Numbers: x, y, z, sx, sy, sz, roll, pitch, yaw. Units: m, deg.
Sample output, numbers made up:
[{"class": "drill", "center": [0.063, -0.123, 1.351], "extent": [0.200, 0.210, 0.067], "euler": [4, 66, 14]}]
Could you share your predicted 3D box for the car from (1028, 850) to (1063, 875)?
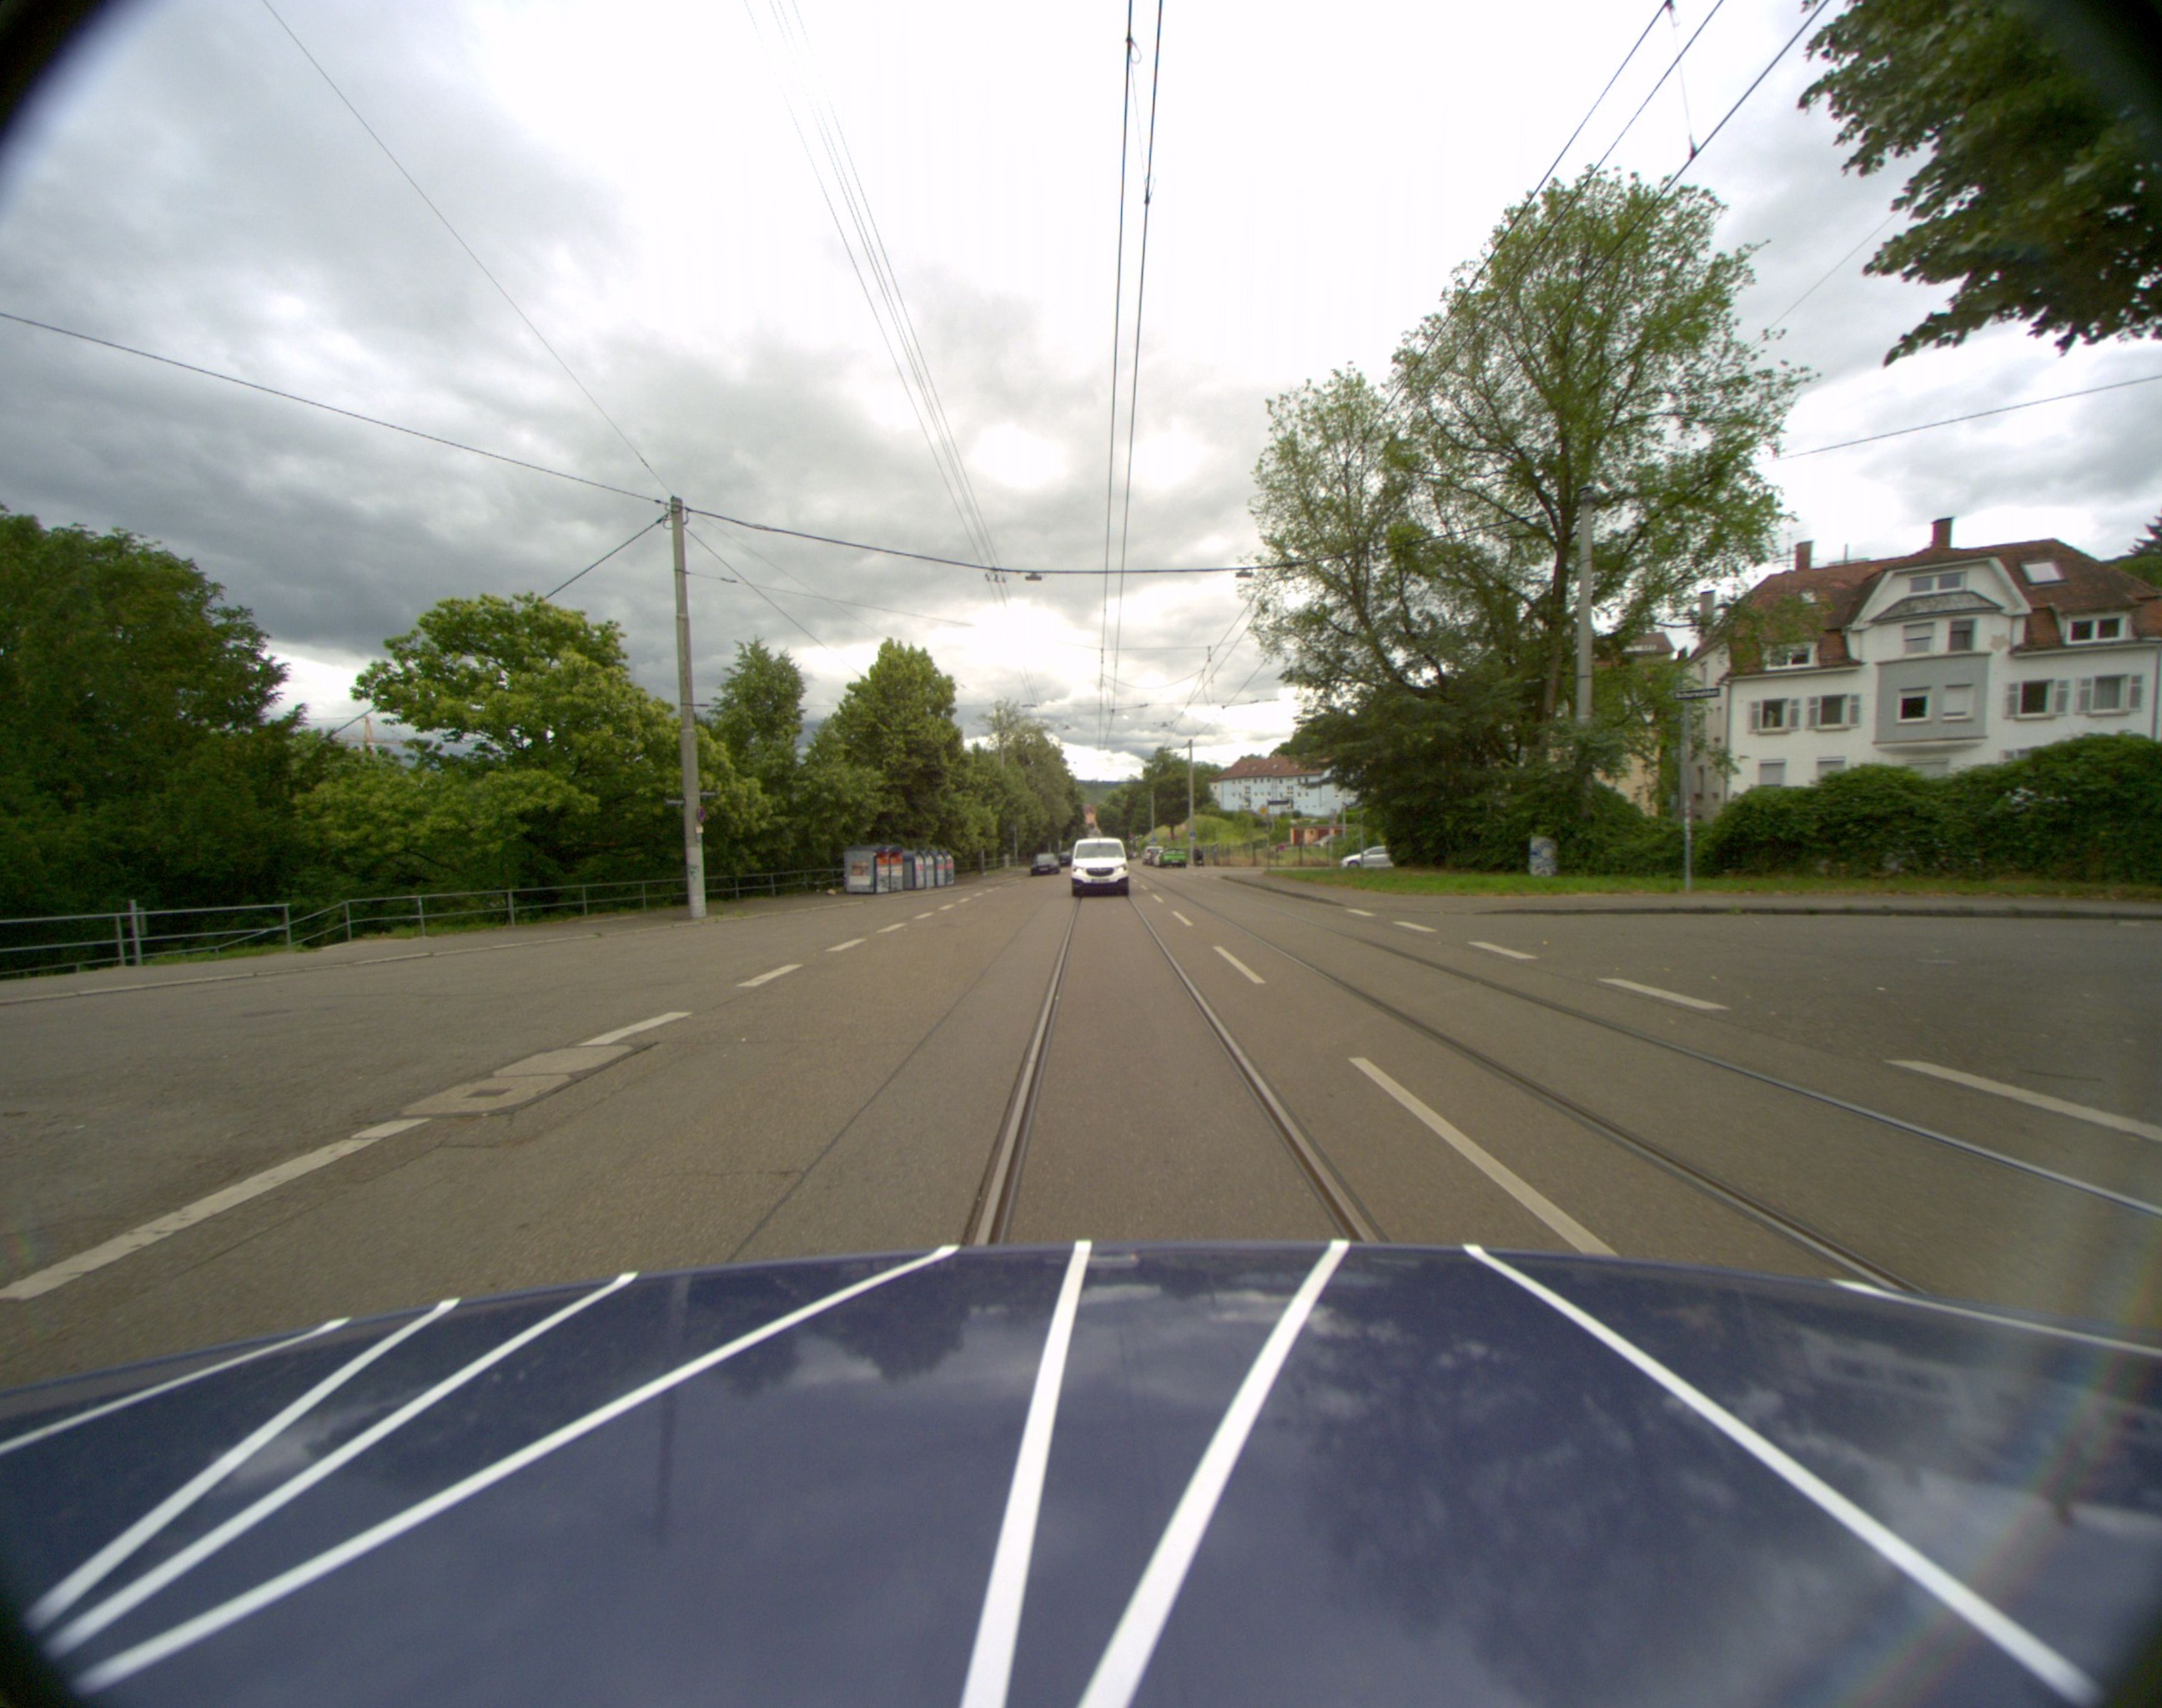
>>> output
[{"class": "car", "center": [-2.330, 0.507, 50.864], "extent": [1.863, 1.434, 4.388], "euler": [-4, 1, 2]}]

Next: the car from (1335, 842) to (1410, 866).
[{"class": "car", "center": [17.054, -0.019, 44.435], "extent": [4.003, 1.370, 1.698], "euler": [0, 1, 25]}]

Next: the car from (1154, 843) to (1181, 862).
[{"class": "car", "center": [7.160, -0.161, 63.218], "extent": [1.856, 1.485, 3.948], "euler": [1, 1, 1]}]

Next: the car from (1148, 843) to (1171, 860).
[{"class": "car", "center": [7.385, -0.263, 71.642], "extent": [1.856, 1.485, 3.948], "euler": [1, 1, 1]}]

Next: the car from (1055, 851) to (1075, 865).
[{"class": "car", "center": [-1.683, 0.369, 80.365], "extent": [1.822, 1.345, 3.940], "euler": [-3, 0, 3]}]

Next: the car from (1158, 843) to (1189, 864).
[{"class": "car", "center": [6.942, -0.055, 57.352], "extent": [1.856, 1.532, 3.948], "euler": [-1, 0, 1]}]

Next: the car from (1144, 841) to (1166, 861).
[{"class": "car", "center": [7.464, -0.358, 76.828], "extent": [1.901, 1.935, 4.290], "euler": [1, 1, 1]}]

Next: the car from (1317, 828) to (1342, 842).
[{"class": "car", "center": [35.363, -2.696, 108.249], "extent": [1.994, 1.893, 4.008], "euler": [-1, 1, 40]}]

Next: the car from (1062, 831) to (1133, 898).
[{"class": "car", "center": [0.616, 0.276, 23.480], "extent": [1.758, 1.824, 4.449], "euler": [-2, 1, 6]}]
